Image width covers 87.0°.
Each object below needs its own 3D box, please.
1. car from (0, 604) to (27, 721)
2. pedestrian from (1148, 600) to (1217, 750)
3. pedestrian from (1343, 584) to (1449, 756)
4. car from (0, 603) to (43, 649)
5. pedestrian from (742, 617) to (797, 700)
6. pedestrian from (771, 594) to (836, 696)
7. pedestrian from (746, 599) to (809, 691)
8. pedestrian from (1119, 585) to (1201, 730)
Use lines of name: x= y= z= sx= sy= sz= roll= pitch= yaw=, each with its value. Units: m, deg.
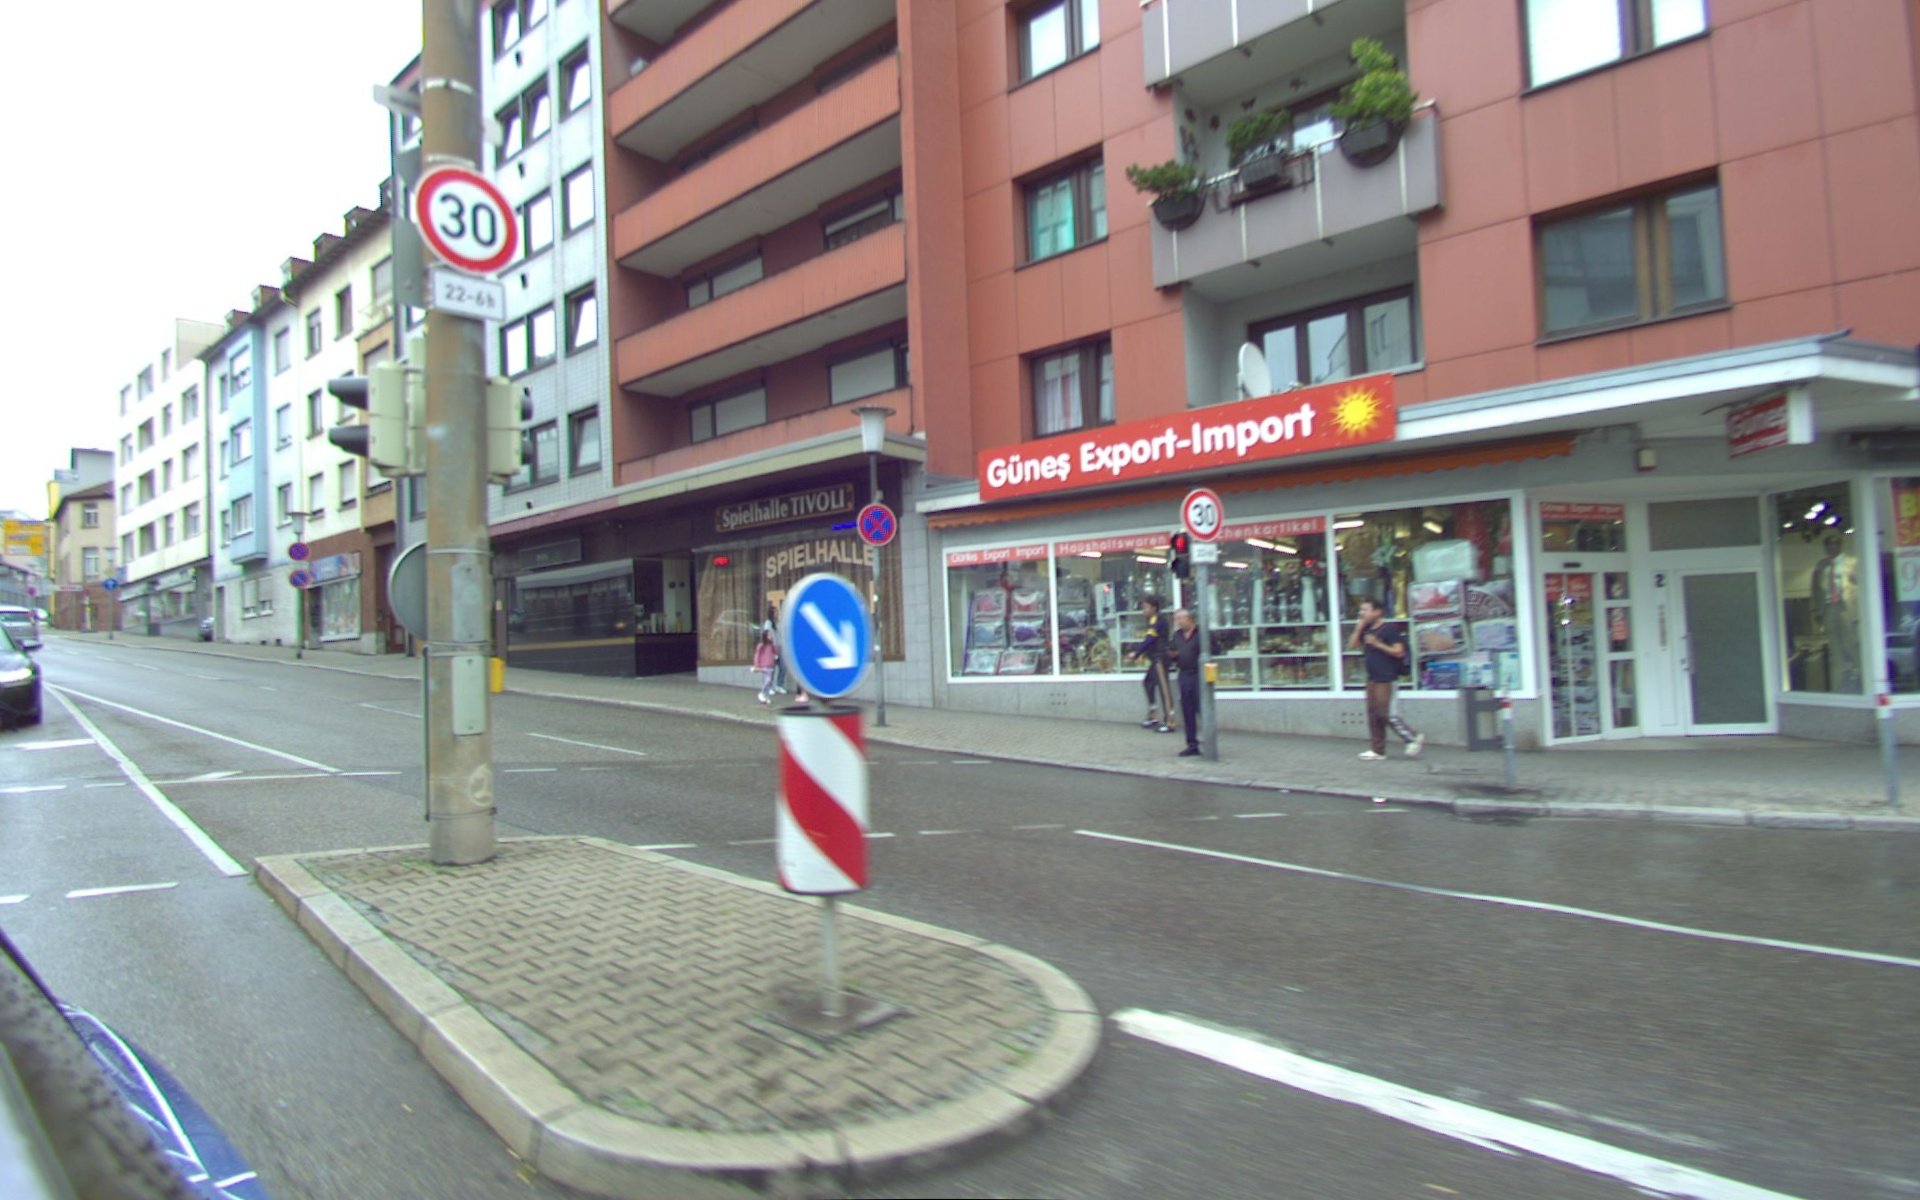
car: x=-14.149 y=0.835 z=13.865 sx=4.319 sy=1.471 sz=1.683 roll=0 pitch=2 yaw=43
pedestrian: x=2.631 y=0.863 z=11.979 sx=0.623 sy=1.710 sz=0.549 roll=0 pitch=0 yaw=38
pedestrian: x=4.875 y=0.746 z=11.348 sx=0.711 sy=1.845 sz=0.832 roll=0 pitch=0 yaw=-15
car: x=-35.656 y=0.946 z=37.653 sx=4.173 sy=1.605 sz=1.717 roll=1 pitch=-2 yaw=41
pedestrian: x=-3.217 y=0.969 z=17.080 sx=0.721 sy=1.333 sz=0.529 roll=0 pitch=2 yaw=33
pedestrian: x=-2.712 y=0.760 z=17.585 sx=0.721 sy=1.702 sz=0.821 roll=0 pitch=2 yaw=32
pedestrian: x=-3.284 y=0.792 z=18.285 sx=0.721 sy=1.572 sz=0.821 roll=0 pitch=2 yaw=32
pedestrian: x=2.683 y=0.739 z=13.545 sx=0.842 sy=1.862 sz=0.754 roll=0 pitch=0 yaw=34
